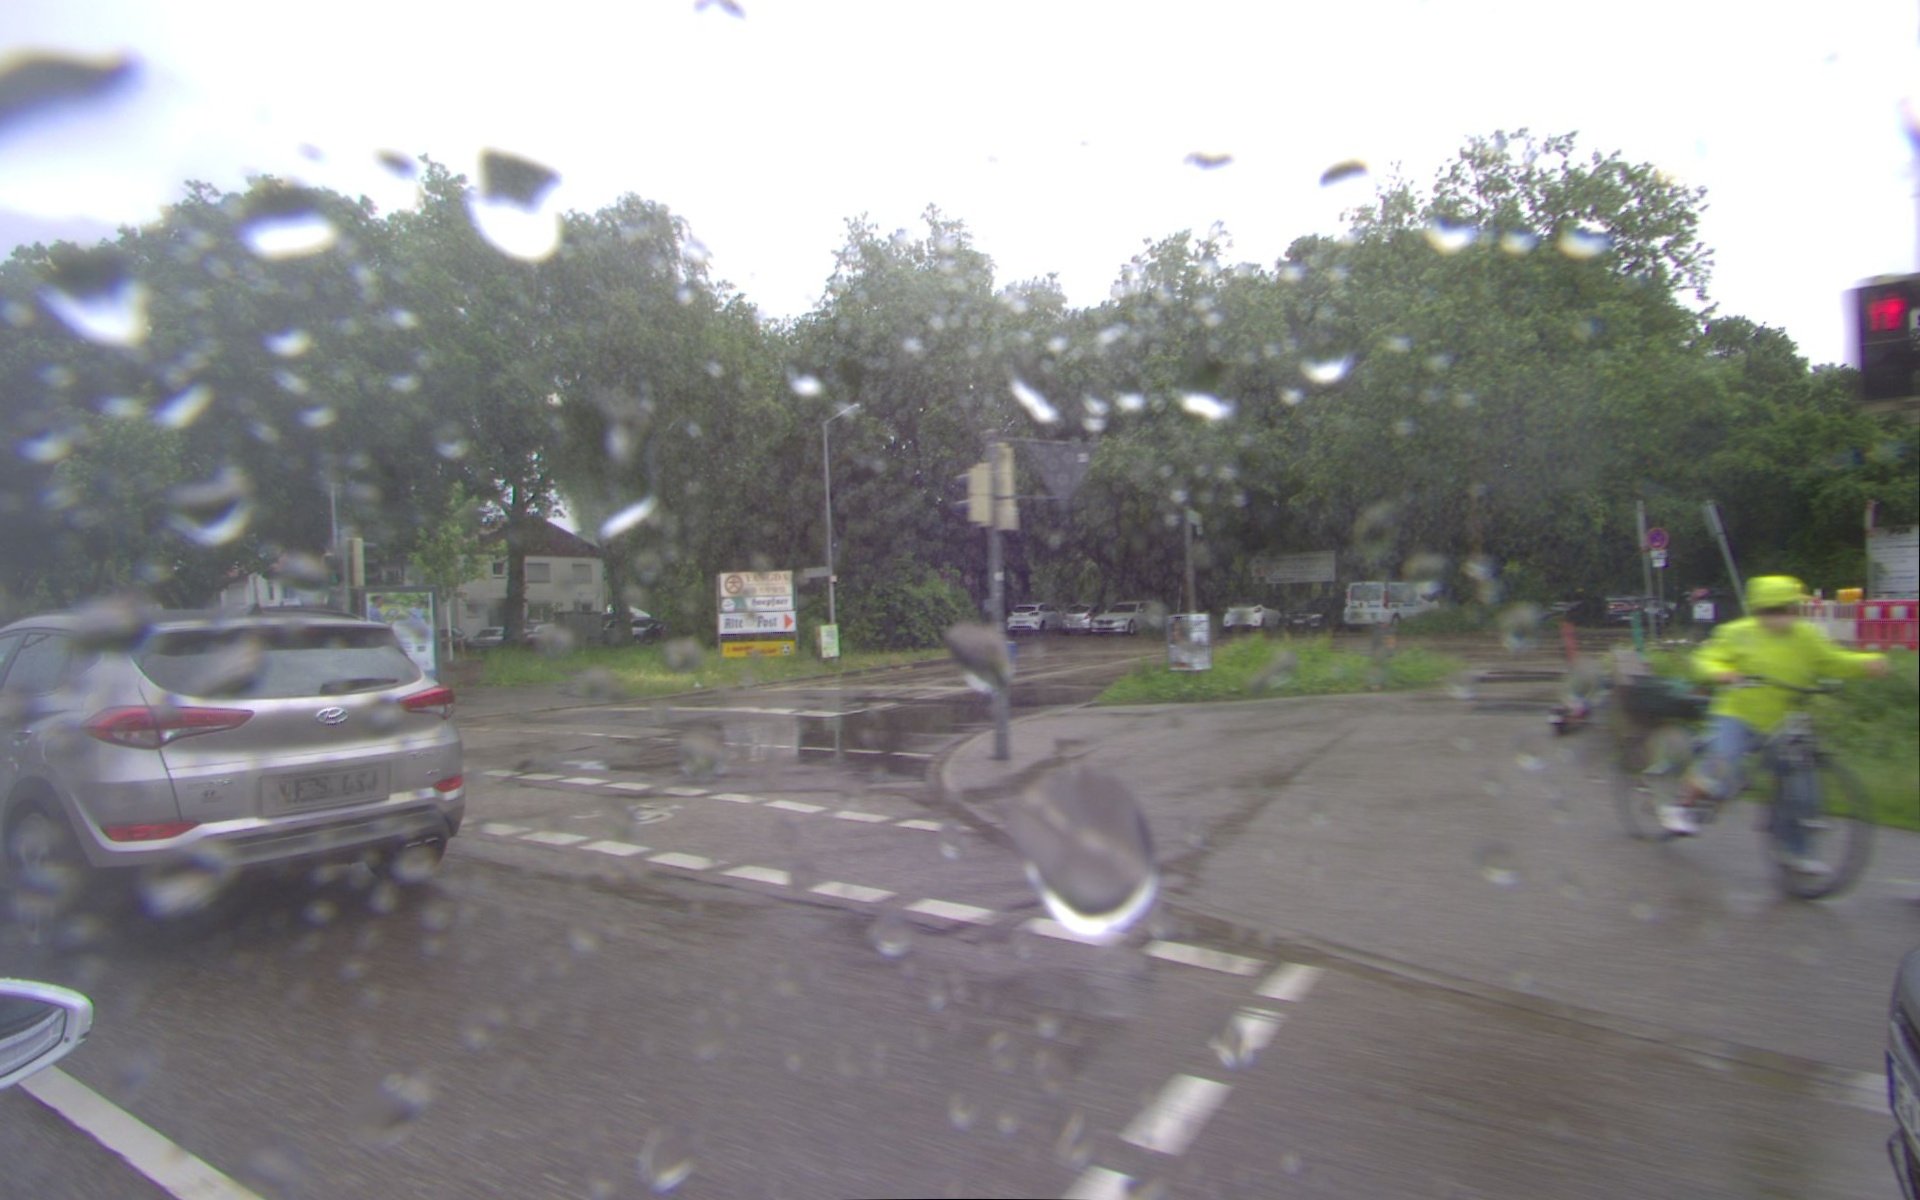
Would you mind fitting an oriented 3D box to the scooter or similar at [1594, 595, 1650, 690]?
[{"bbox_3d":[8.480,0.539,12.831,0.553,1.192,0.284,-2,0,40],"label":"scooter or similar"}]

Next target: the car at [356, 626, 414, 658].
[{"bbox_3d":[-27.204,2.012,47.483,1.641,1.467,3.746,-1,-3,-19],"label":"car"}]

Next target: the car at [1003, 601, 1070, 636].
[{"bbox_3d":[3.853,0.962,49.716,1.894,1.603,4.589,-2,-3,24],"label":"car"}]

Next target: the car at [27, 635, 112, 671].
[{"bbox_3d":[-47.769,2.837,53.694,4.808,1.740,1.990,-3,0,30],"label":"car"}]

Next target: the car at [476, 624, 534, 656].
[{"bbox_3d":[-22.087,1.946,48.730,1.638,1.467,3.752,-1,-3,-10],"label":"car"}]

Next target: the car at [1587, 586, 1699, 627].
[{"bbox_3d":[30.882,0.331,45.316,3.958,1.672,1.688,-4,-3,43],"label":"car"}]

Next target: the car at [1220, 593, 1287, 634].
[{"bbox_3d":[12.797,0.622,43.502,1.698,1.617,3.648,-3,-3,35],"label":"car"}]

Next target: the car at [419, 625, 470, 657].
[{"bbox_3d":[-24.901,2.001,48.436,1.641,1.467,3.746,-1,-3,-19],"label":"car"}]

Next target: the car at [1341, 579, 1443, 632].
[{"bbox_3d":[17.417,0.253,40.325,4.144,1.989,1.913,0,-3,-37],"label":"car"}]

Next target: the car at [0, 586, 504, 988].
[{"bbox_3d":[-4.830,0.864,6.012,4.137,1.630,1.881,-2,-3,33],"label":"car"}]

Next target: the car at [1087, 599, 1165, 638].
[{"bbox_3d":[7.680,0.882,45.972,1.899,1.651,4.578,-3,-3,32],"label":"car"}]

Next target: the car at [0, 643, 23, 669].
[{"bbox_3d":[-58.806,3.441,60.905,4.014,1.504,1.635,-3,-3,30],"label":"car"}]

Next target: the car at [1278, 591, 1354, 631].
[{"bbox_3d":[14.877,0.505,41.738,1.901,1.507,4.170,-3,-3,35],"label":"car"}]

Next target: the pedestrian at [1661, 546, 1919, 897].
[{"bbox_3d":[4.382,0.606,5.322,0.774,1.701,0.669,-4,2,-1],"label":"pedestrian"}]

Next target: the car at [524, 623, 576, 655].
[{"bbox_3d":[-20.174,1.928,49.338,1.573,1.467,3.752,-1,-3,-10],"label":"car"}]

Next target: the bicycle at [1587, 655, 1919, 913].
[{"bbox_3d":[4.399,0.913,5.531,0.774,1.052,1.664,-4,1,-1],"label":"bicycle"}]

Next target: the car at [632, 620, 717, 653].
[{"bbox_3d":[-13.454,1.727,47.415,1.647,1.467,3.702,-3,-3,33],"label":"car"}]

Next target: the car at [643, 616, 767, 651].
[{"bbox_3d":[-11.372,1.508,45.050,2.139,1.467,5.386,-3,-3,34],"label":"car"}]

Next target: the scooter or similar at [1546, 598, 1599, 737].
[{"bbox_3d":[6.008,0.633,9.808,0.318,1.246,0.953,-2,3,37],"label":"scooter or similar"}]

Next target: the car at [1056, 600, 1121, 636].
[{"bbox_3d":[6.274,0.923,48.461,1.894,1.603,4.589,-2,-3,24],"label":"car"}]

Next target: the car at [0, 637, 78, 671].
[{"bbox_3d":[-52.287,3.080,56.830,4.574,1.740,1.990,-3,0,30],"label":"car"}]
